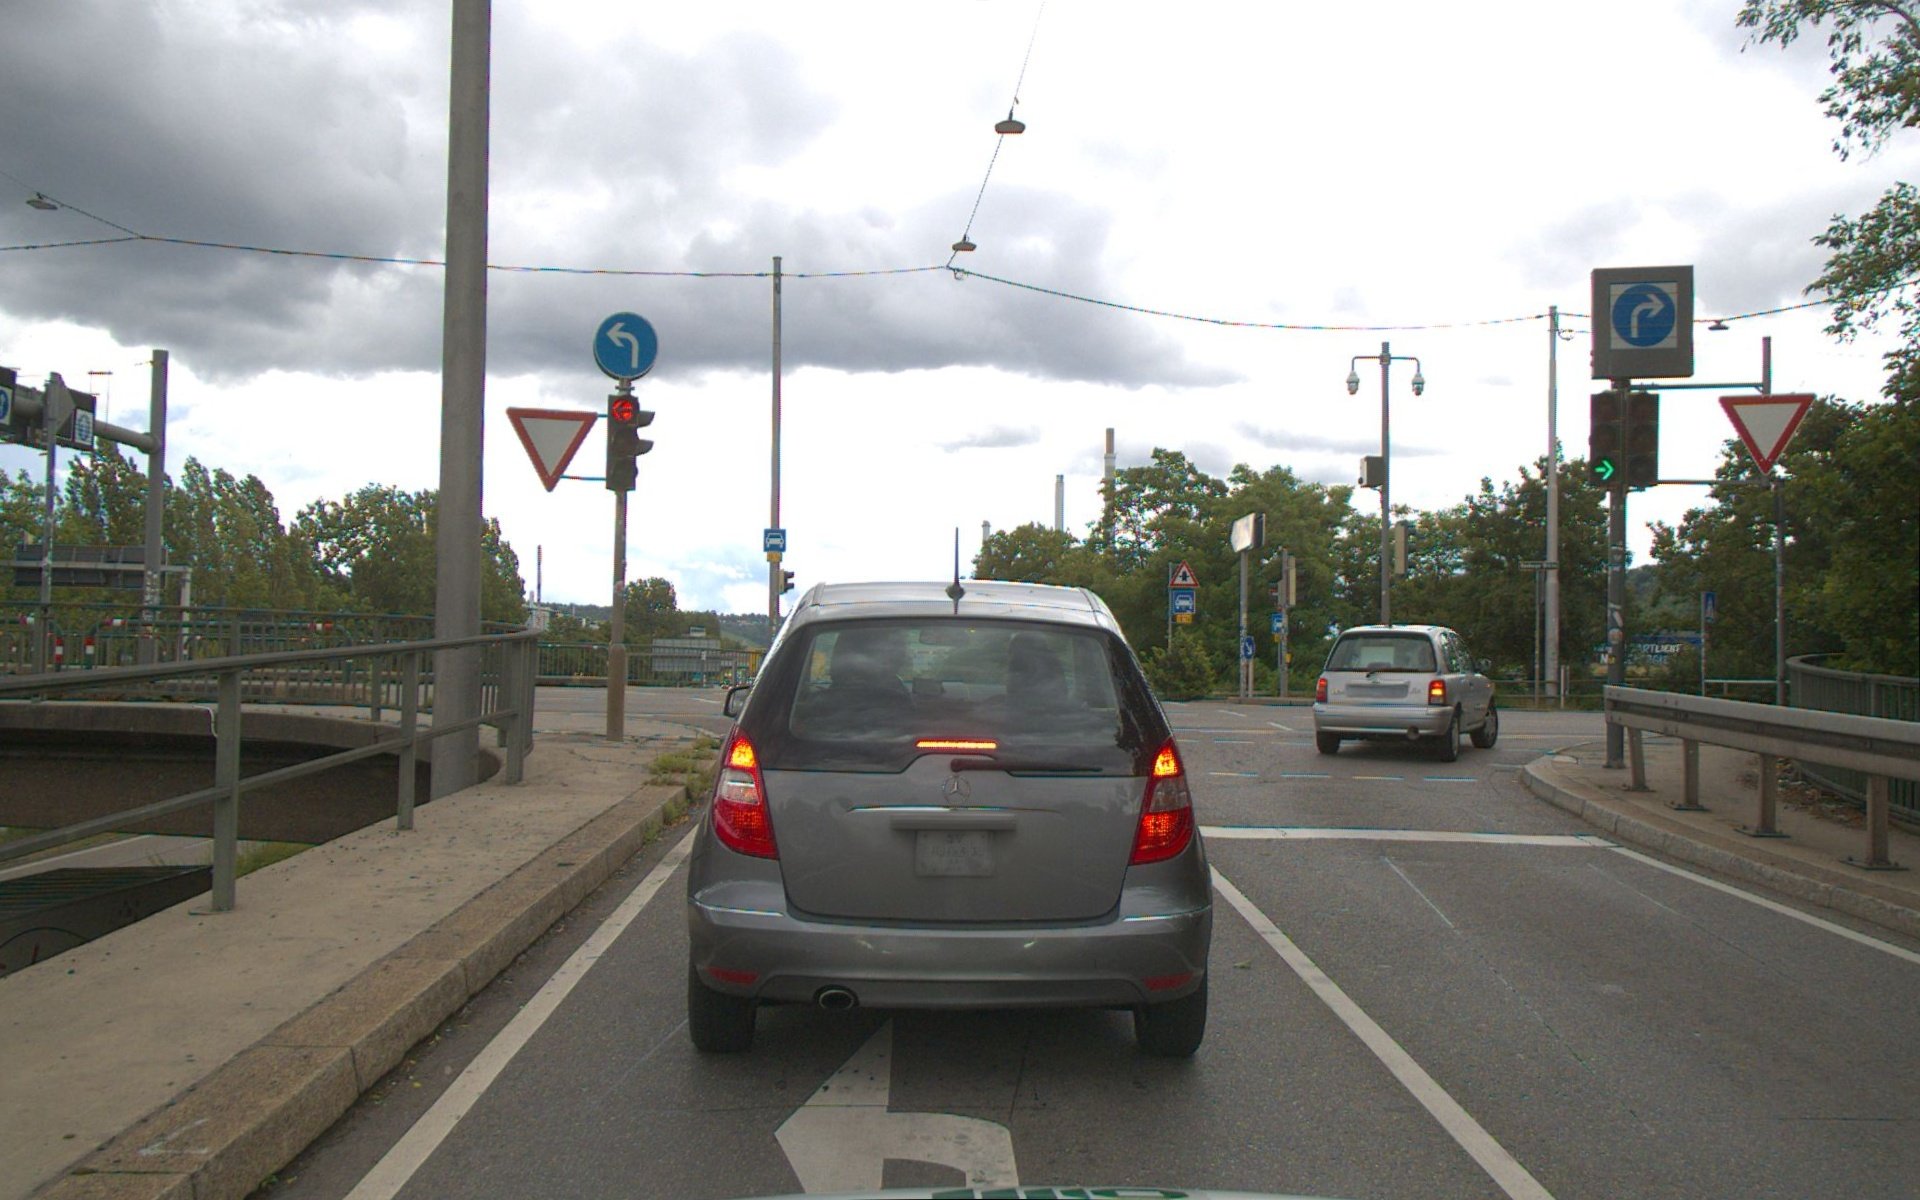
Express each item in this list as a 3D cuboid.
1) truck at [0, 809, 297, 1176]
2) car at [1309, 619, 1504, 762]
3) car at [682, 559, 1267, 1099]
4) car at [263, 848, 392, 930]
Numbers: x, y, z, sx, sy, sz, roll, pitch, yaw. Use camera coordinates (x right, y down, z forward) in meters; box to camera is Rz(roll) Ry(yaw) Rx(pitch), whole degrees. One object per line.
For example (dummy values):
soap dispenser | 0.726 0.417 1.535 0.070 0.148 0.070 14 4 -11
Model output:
truck | -12.887 5.259 23.648 2.823 3.587 9.869 -2 -2 0
car | 5.228 0.961 19.110 1.554 1.457 3.439 0 0 26
car | 0.027 0.685 6.653 1.704 1.570 3.540 1 0 -1
car | -16.911 7.705 44.434 1.792 1.606 4.182 1 -2 0
